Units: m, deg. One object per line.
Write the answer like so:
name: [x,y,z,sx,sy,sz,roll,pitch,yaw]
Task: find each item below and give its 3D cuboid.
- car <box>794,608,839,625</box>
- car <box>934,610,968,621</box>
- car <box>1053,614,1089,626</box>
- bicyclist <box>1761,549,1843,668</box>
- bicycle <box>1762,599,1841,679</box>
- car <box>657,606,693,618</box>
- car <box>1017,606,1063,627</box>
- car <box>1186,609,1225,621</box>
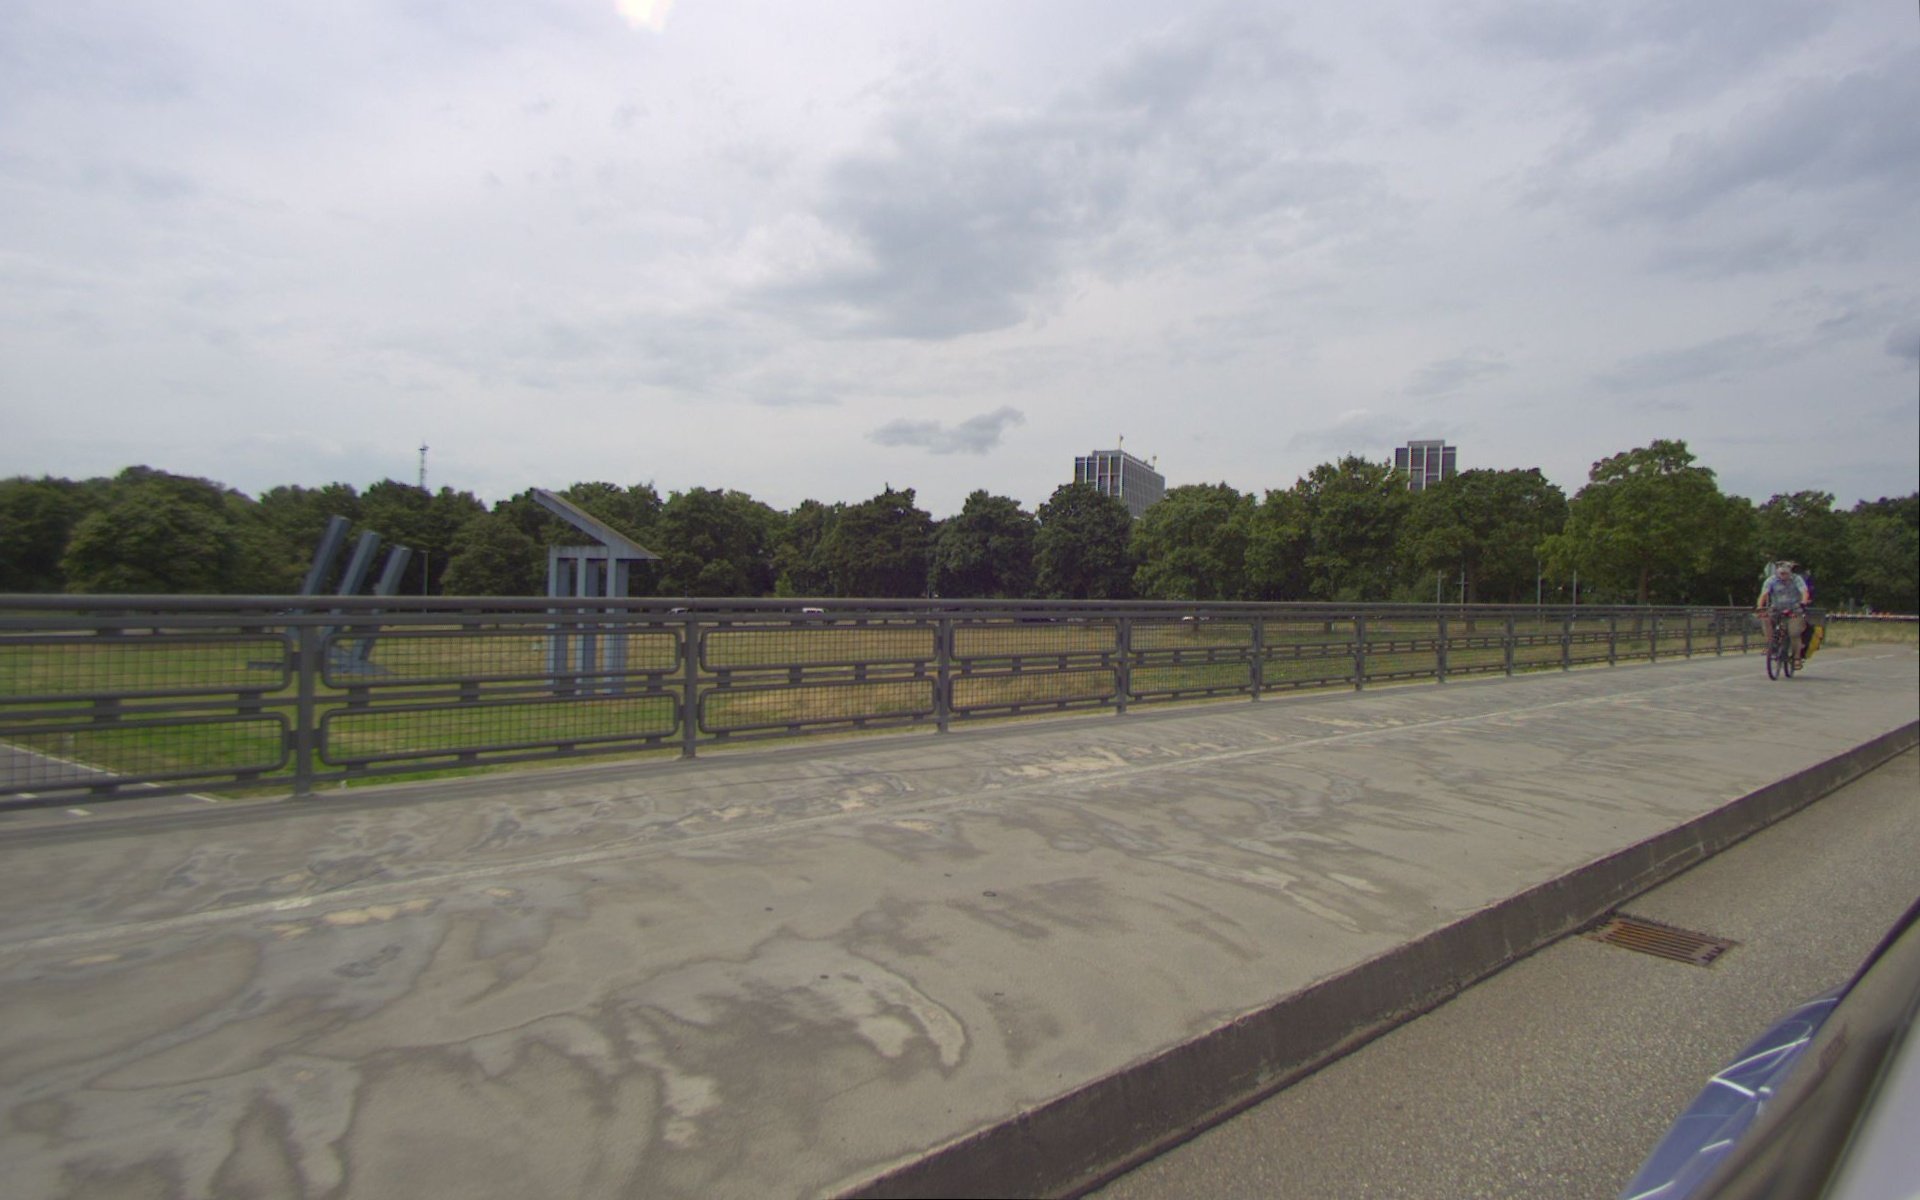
car: [-16.771,1.877,118.367,4.834,1.825,1.990,1,0,16]
car: [-1.043,1.829,119.920,3.647,1.145,1.664,0,0,27]
car: [12.373,2.185,113.106,3.647,1.288,1.664,0,-1,27]
bicyclist: [13.469,0.118,16.191,0.871,1.824,0.942,4,2,44]
bicycle: [13.535,0.585,16.255,0.813,1.154,1.736,4,3,44]
car: [-36.742,1.538,130.502,3.927,1.416,1.998,1,0,3]
car: [8.370,1.749,106.398,4.430,2.039,1.981,1,0,28]
car: [25.382,1.528,104.583,3.647,1.145,1.664,0,0,27]
